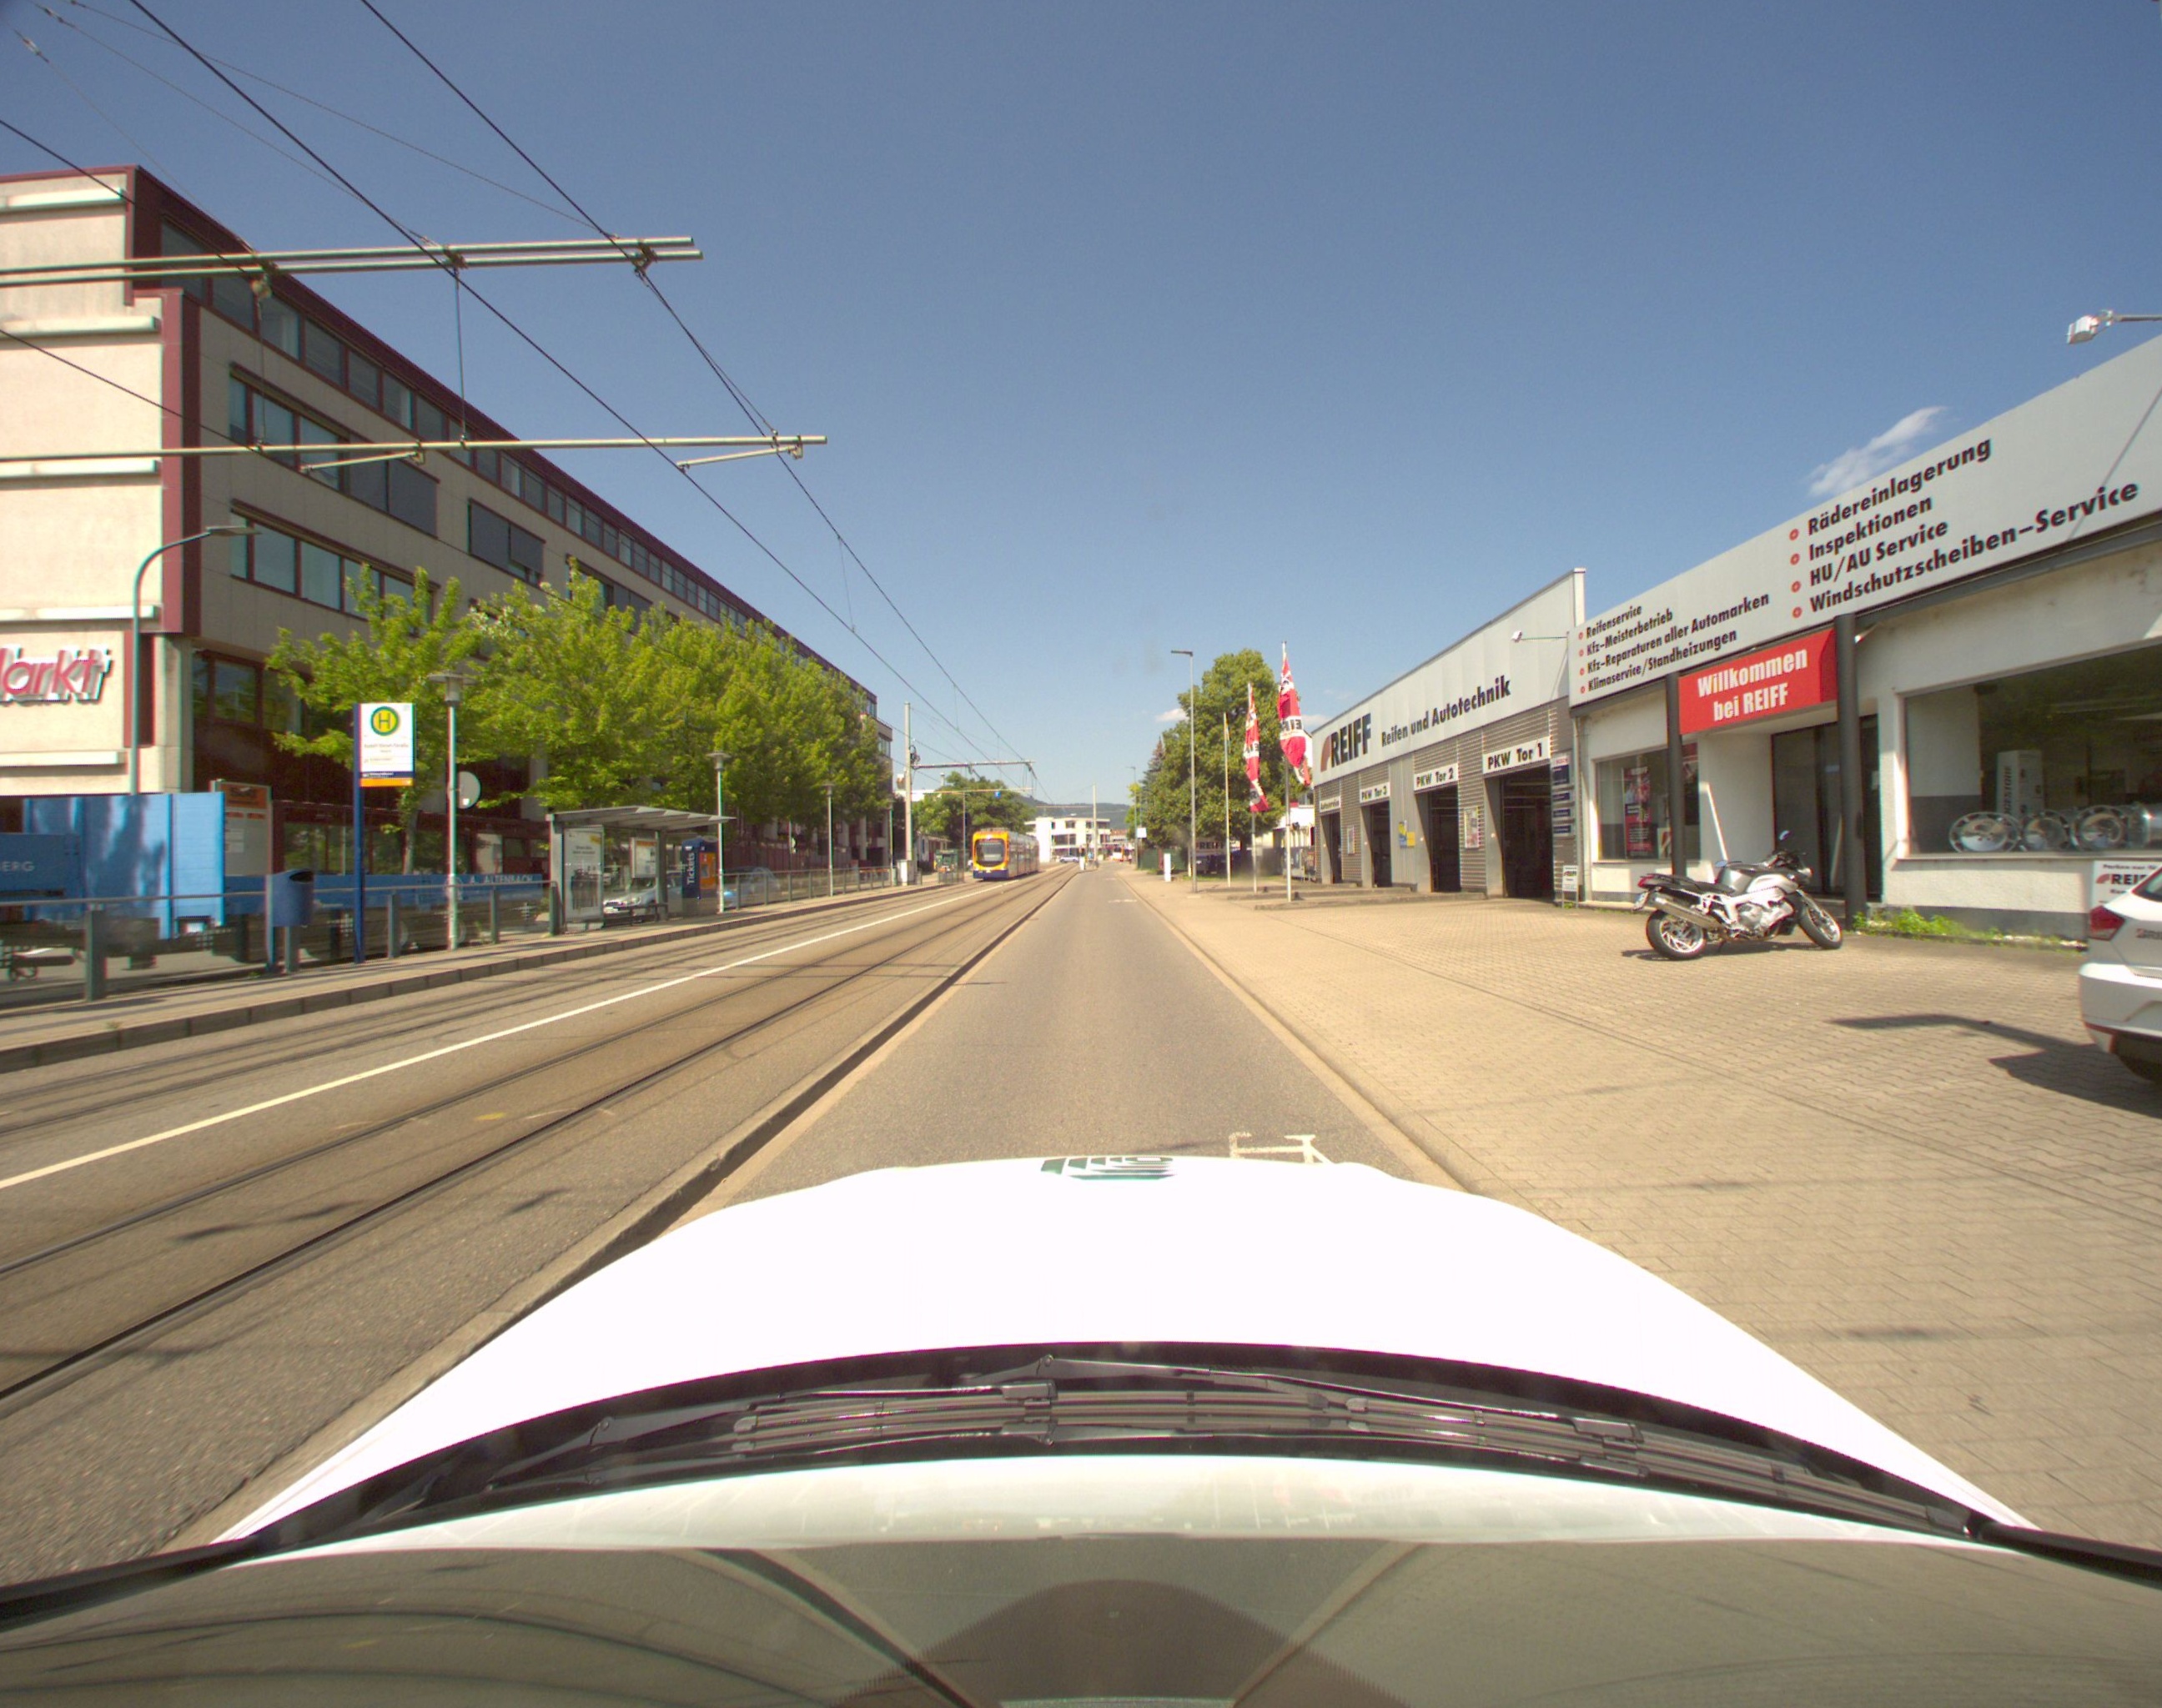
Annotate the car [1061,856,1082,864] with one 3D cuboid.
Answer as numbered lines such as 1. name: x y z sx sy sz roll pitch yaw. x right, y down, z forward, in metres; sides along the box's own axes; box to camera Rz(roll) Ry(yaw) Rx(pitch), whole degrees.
1. car: -2.028 1.243 168.966 3.954 1.750 1.785 -1 0 19

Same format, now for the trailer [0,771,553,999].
1. trailer: -12.555 0.386 13.377 2.788 2.628 7.598 -2 0 0

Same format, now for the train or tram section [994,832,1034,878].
1. train or tram section: -5.285 0.093 65.255 2.602 3.447 5.011 -2 0 1

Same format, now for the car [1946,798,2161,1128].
1. car: 6.822 0.341 3.586 3.975 1.462 1.889 -5 -1 -1

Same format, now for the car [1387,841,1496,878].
1. car: 14.879 0.224 33.755 3.754 1.376 1.723 -2 0 -4

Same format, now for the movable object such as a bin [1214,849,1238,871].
1. movable object such as a bin: 9.596 0.398 53.861 1.304 1.430 0.890 -2 -2 26

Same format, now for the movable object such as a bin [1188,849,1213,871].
1. movable object such as a bin: 8.014 0.421 54.430 1.371 1.430 0.996 -2 -2 26

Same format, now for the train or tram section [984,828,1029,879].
1. train or tram section: -5.379 -0.027 59.818 2.602 3.447 5.844 -2 0 1

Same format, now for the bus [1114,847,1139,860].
1. bus: 9.876 -0.129 176.310 2.414 2.880 8.842 -1 0 25

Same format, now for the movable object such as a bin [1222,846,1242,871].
1. movable object such as a bin: 9.634 0.321 52.008 0.975 1.547 1.319 -1 -2 -3

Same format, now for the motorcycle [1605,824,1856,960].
1. motorcycle: 7.304 0.419 9.231 2.176 1.308 0.731 -5 -1 -1

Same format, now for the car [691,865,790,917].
1. car: -11.994 1.245 28.980 1.717 1.584 4.071 -4 0 0

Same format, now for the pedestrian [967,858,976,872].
1. pedestrian: -11.787 1.175 87.564 0.831 1.537 0.838 -2 0 1

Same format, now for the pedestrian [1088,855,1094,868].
1. pedestrian: 1.295 0.958 104.662 0.741 1.740 0.727 -2 0 1

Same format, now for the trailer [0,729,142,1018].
1. trailer: -12.537 0.233 6.174 2.734 2.977 6.898 -2 0 0

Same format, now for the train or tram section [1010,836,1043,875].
1. train or tram section: -5.149 0.148 78.111 2.571 3.447 6.363 -2 0 1

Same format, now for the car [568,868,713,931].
1. car: -12.338 1.211 23.179 1.717 1.472 4.279 -3 0 0

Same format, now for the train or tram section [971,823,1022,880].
1. train or tram section: -5.524 -0.134 54.031 2.602 3.533 5.743 -2 0 1

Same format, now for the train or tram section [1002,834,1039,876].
1. train or tram section: -5.223 0.115 71.344 2.571 3.447 7.137 -2 0 1
